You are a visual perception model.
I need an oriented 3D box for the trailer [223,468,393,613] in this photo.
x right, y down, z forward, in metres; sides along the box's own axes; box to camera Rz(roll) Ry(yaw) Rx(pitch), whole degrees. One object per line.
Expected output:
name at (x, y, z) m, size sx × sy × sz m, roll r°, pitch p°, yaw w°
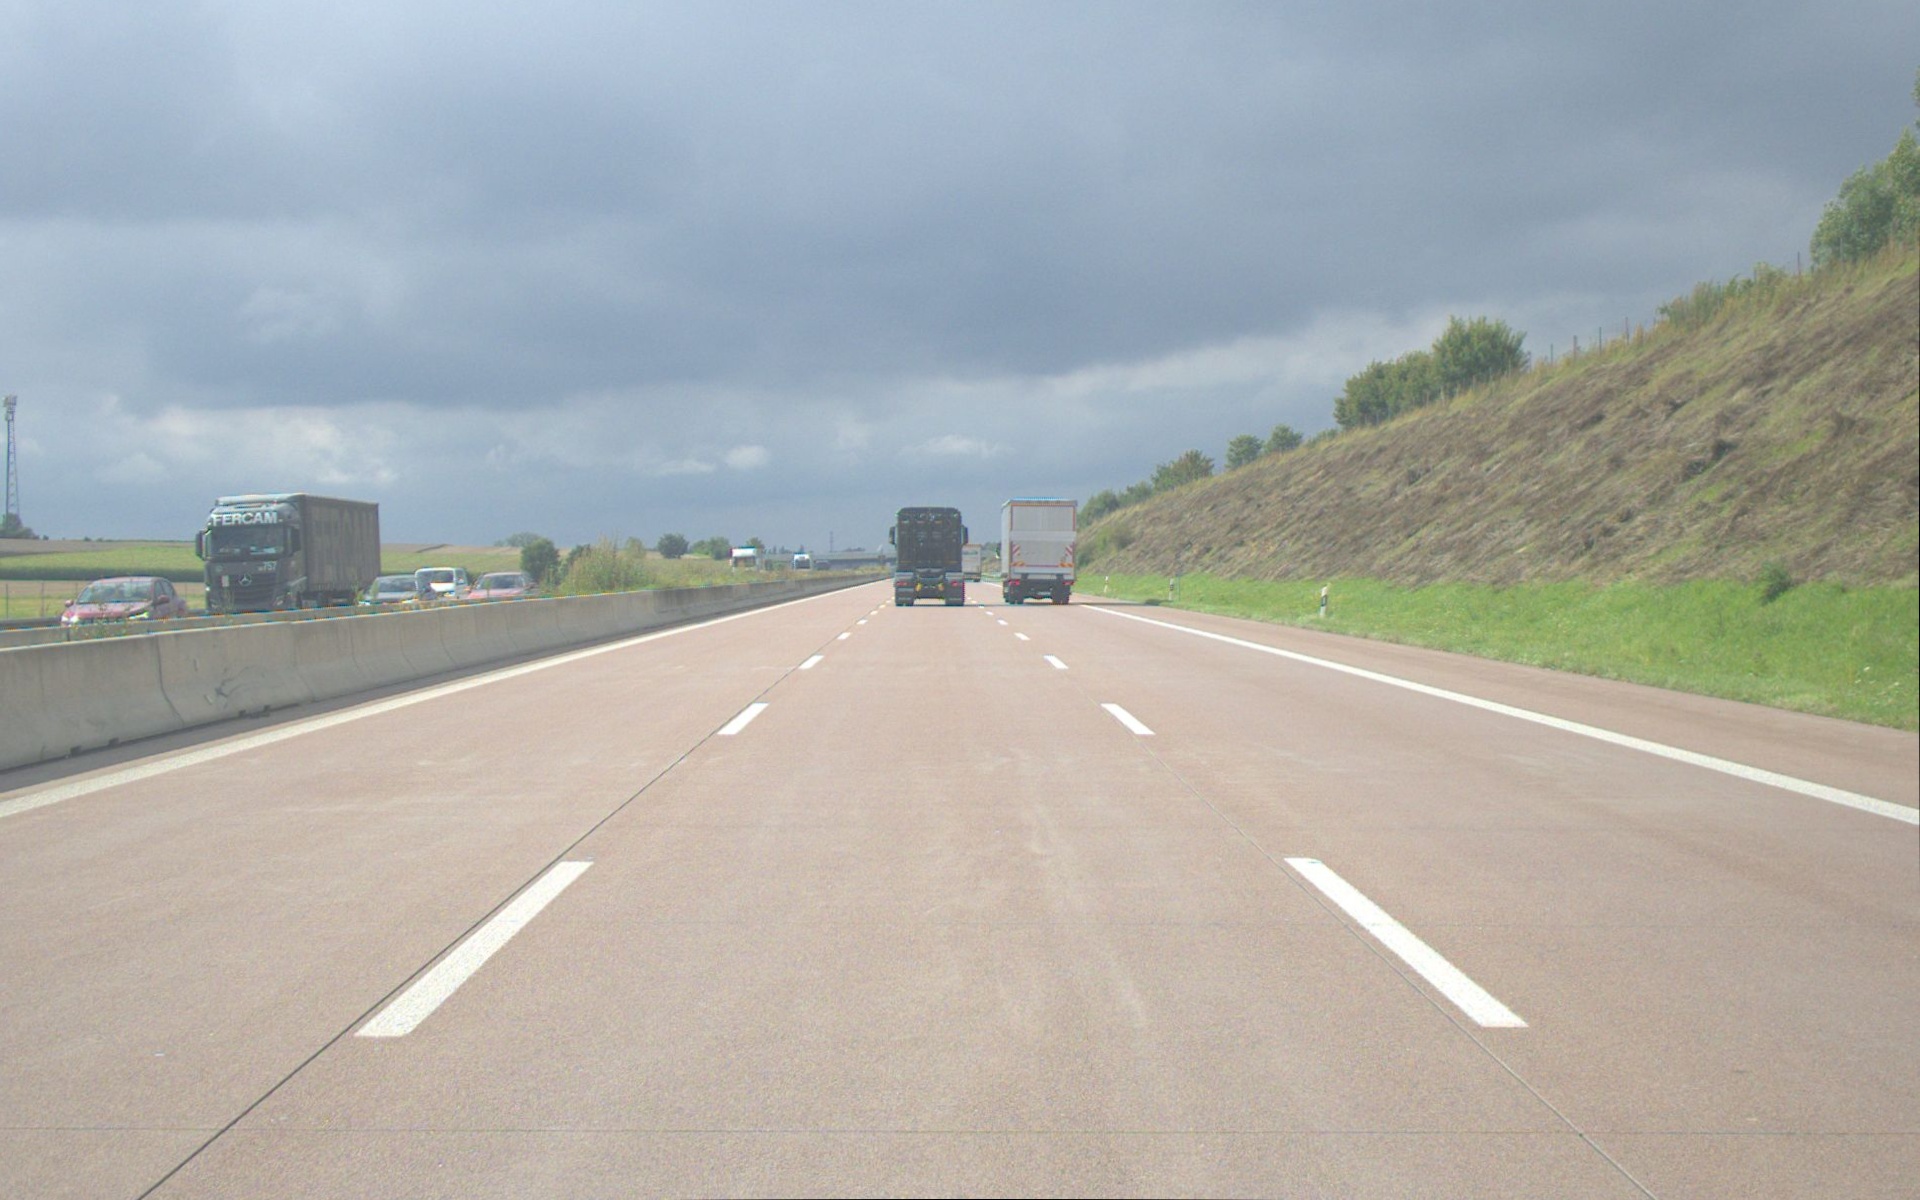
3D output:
trailer at (-20.279, -1.876, 107.728) m, size 3.021 × 4.249 × 12.095 m, roll 1°, pitch 1°, yaw 0°

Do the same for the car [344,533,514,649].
car at (-8.028, -0.171, 52.257) m, size 1.972 × 1.656 × 4.082 m, roll 1°, pitch 1°, yaw -1°

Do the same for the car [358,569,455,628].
car at (-15.805, -0.062, 98.416) m, size 1.993 × 1.569 × 5.218 m, roll 1°, pitch 1°, yaw -1°

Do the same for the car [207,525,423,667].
car at (-7.962, -0.086, 42.839) m, size 1.884 × 1.656 × 4.434 m, roll 1°, pitch 1°, yaw -1°

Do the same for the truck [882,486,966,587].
truck at (-1.372, -2.268, 125.814) m, size 2.847 × 3.537 × 8.320 m, roll 0°, pitch 0°, yaw -2°

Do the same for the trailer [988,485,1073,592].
trailer at (2.695, -2.346, 133.280) m, size 2.747 × 3.998 × 8.671 m, roll 0°, pitch 0°, yaw -2°

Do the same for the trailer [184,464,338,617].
trailer at (-20.262, -1.730, 100.054) m, size 3.007 × 4.233 × 7.009 m, roll 1°, pitch 1°, yaw 0°

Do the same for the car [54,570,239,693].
car at (-8.155, 0.292, 34.625) m, size 1.222 × 1.148 × 2.758 m, roll 1°, pitch 1°, yaw -1°

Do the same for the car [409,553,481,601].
car at (-20.668, -0.951, 138.130) m, size 2.058 × 1.840 × 5.728 m, roll -1°, pitch 1°, yaw -1°

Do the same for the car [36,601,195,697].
car at (-15.932, 0.896, 65.061) m, size 1.972 × 1.656 × 4.491 m, roll 1°, pitch 1°, yaw -1°
